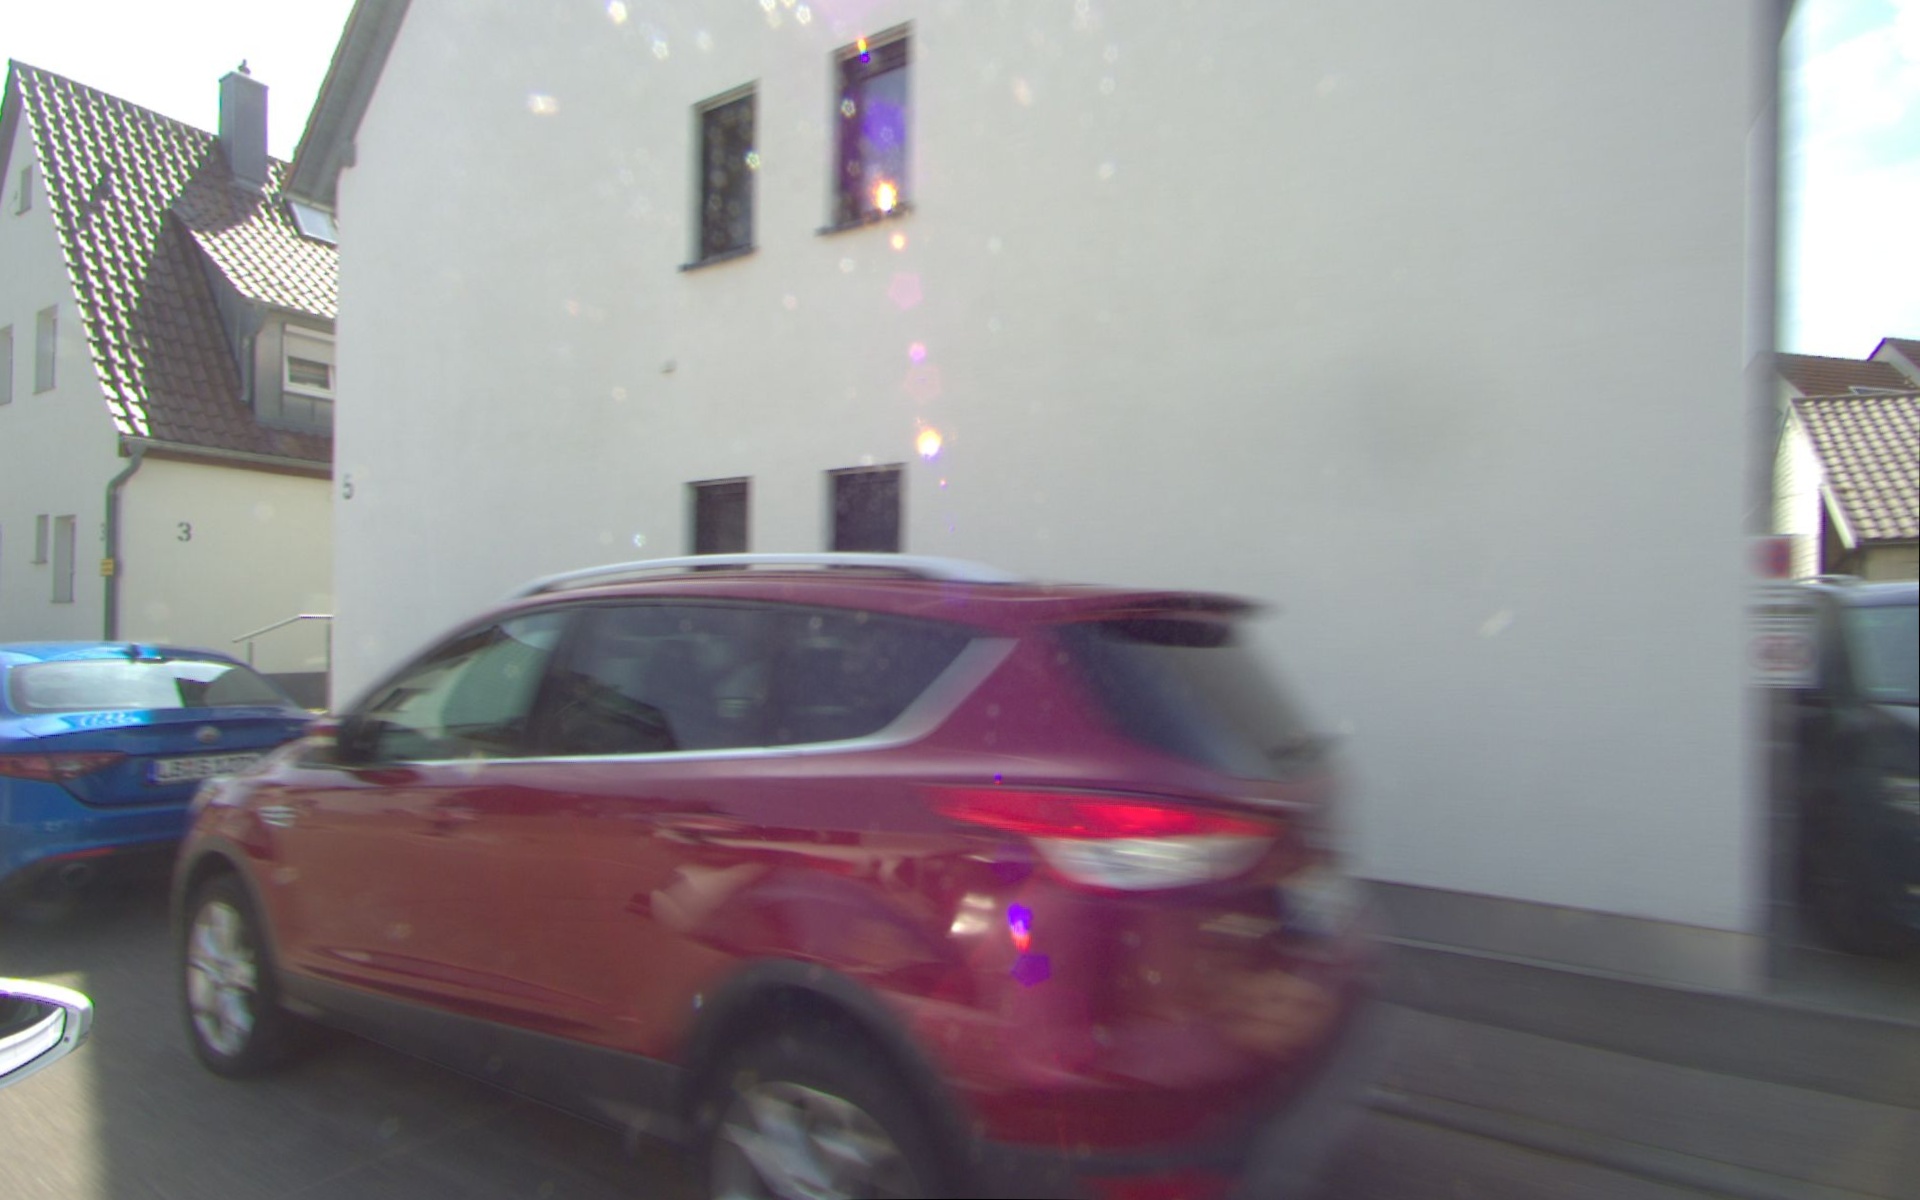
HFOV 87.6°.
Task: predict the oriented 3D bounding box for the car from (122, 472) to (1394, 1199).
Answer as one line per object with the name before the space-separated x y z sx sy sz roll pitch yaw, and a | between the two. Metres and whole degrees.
car | -0.895 0.731 3.422 4.124 1.721 1.872 0 -3 33

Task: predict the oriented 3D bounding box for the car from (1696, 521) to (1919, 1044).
car | 5.307 0.727 5.101 1.970 1.866 4.512 0 -2 29

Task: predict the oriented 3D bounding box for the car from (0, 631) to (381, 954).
car | -5.771 0.928 6.407 4.528 1.442 1.760 -1 -2 34
